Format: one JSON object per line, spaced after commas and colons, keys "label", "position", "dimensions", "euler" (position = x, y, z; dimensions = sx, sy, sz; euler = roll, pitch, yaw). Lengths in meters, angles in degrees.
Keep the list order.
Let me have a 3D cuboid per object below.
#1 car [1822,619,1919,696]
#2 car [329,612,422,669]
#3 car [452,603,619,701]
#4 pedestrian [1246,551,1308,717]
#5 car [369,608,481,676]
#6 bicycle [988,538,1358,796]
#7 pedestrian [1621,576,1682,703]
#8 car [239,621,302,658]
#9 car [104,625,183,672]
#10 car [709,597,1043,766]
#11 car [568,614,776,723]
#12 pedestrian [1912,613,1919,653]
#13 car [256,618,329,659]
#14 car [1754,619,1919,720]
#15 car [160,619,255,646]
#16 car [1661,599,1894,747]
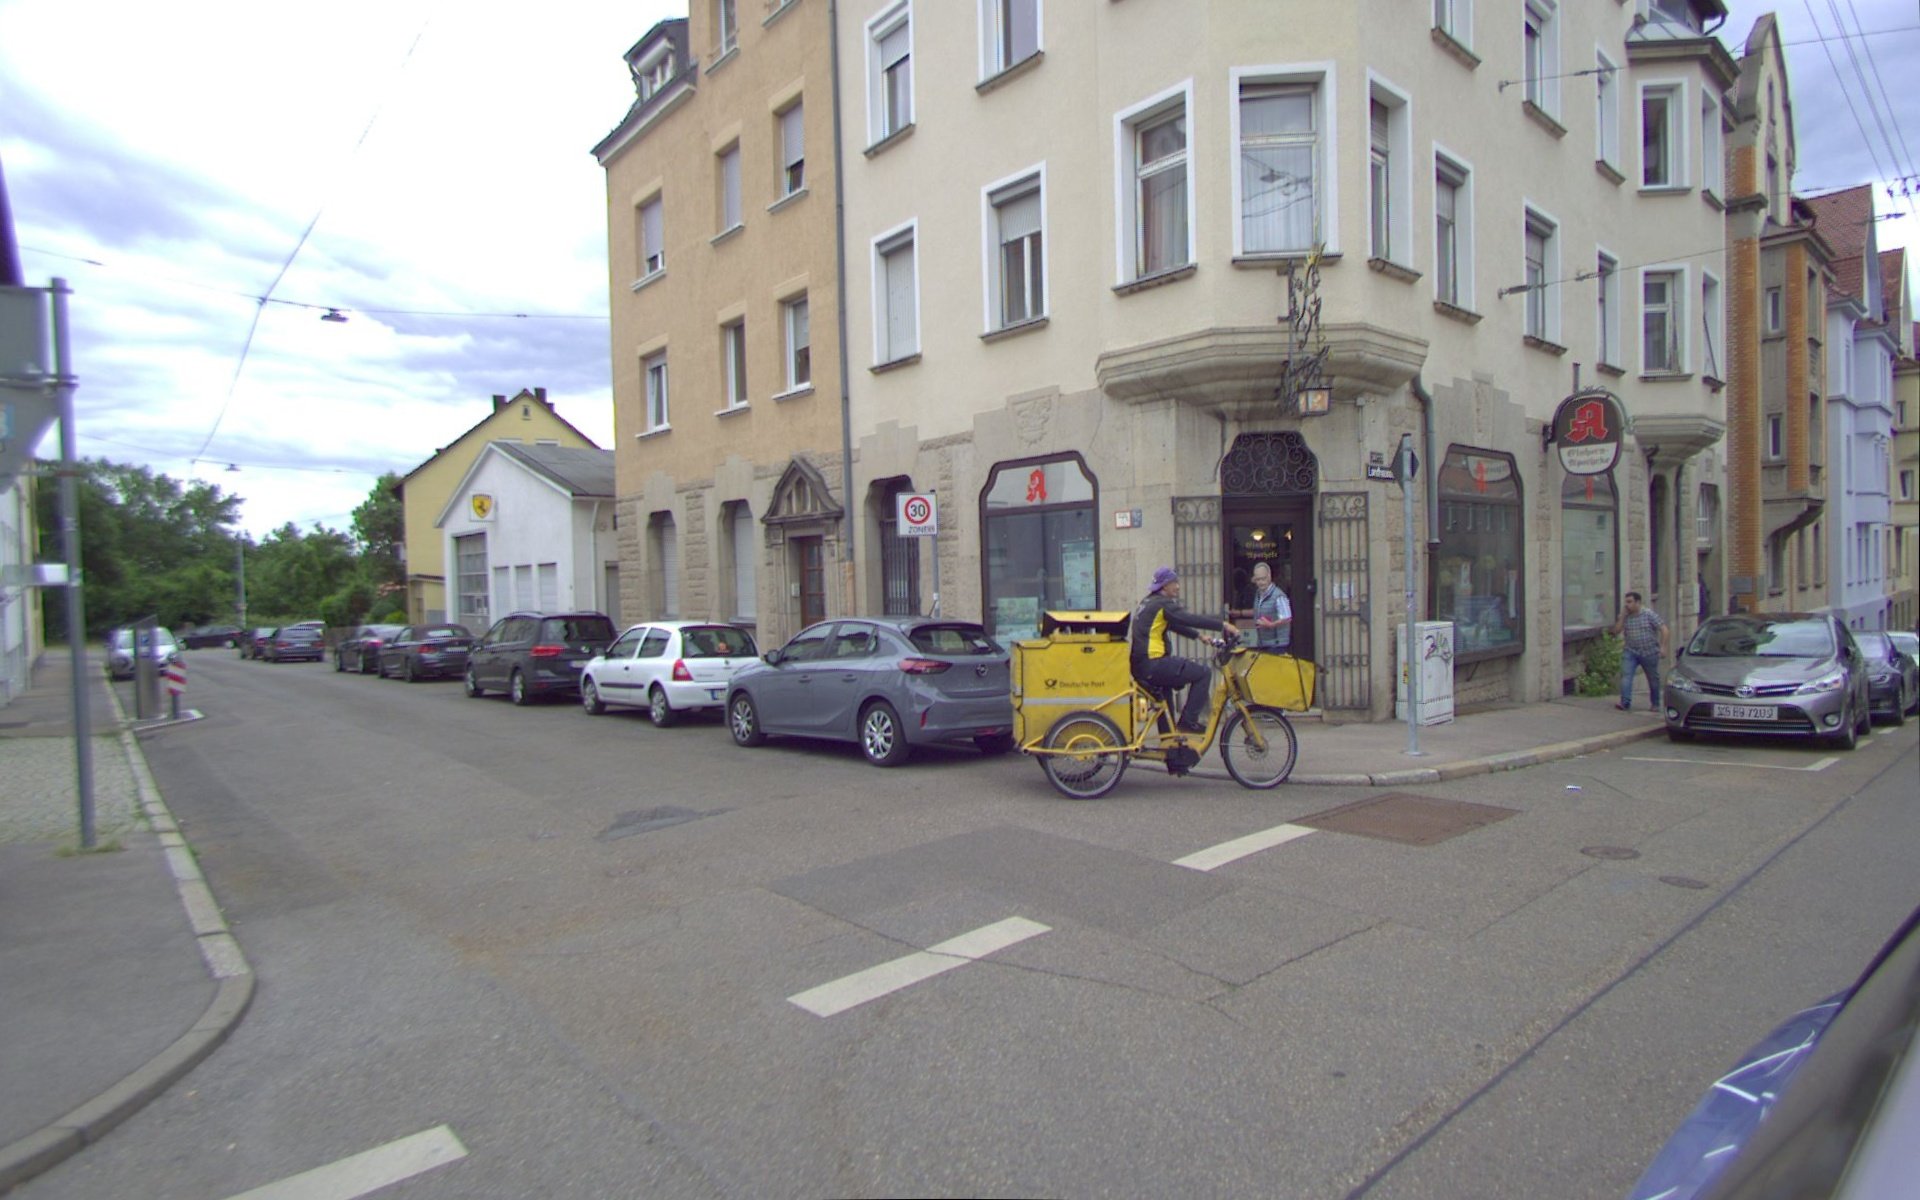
{"label": "car", "position": [18.808, 1.097, 20.324], "dimensions": [4.234, 1.408, 1.751], "euler": [1, -3, -43]}
{"label": "car", "position": [-17.532, 1.173, 30.266], "dimensions": [1.553, 1.602, 3.978], "euler": [1, -2, -43]}
{"label": "car", "position": [-7.845, 0.888, 18.532], "dimensions": [1.553, 1.602, 3.978], "euler": [1, -2, -43]}
{"label": "pedestrian", "position": [3.486, 0.367, 11.155], "dimensions": [0.482, 1.790, 0.485], "euler": [1, -1, -8]}
{"label": "car", "position": [-13.771, 1.024, 25.946], "dimensions": [1.553, 1.602, 3.978], "euler": [1, -2, -43]}
{"label": "bicycle", "position": [1.582, 0.504, 8.074], "dimensions": [2.677, 1.890, 1.182], "euler": [0, -1, 1]}
{"label": "pedestrian", "position": [10.212, 0.572, 14.946], "dimensions": [0.621, 1.826, 0.600], "euler": [1, -1, -41]}
{"label": "car", "position": [-31.727, 1.778, 46.518], "dimensions": [1.829, 1.602, 3.978], "euler": [1, -2, -43]}
{"label": "car", "position": [-27.721, 1.605, 34.326], "dimensions": [1.793, 1.483, 3.850], "euler": [1, -2, -43]}
{"label": "car", "position": [-1.049, 0.756, 10.897], "dimensions": [1.553, 1.483, 3.850], "euler": [1, -2, -43]}
{"label": "car", "position": [-4.303, 0.920, 14.871], "dimensions": [1.553, 1.407, 3.436], "euler": [1, -2, -43]}
{"label": "pedestrian", "position": [41.980, 1.459, 44.121], "dimensions": [0.540, 1.701, 0.509], "euler": [6, 5, 40]}
{"label": "car", "position": [-27.644, 1.565, 41.879], "dimensions": [1.829, 1.602, 4.382], "euler": [1, -2, -43]}
{"label": "car", "position": [14.434, 1.025, 16.368], "dimensions": [4.612, 1.408, 1.781], "euler": [1, -3, -43]}
{"label": "car", "position": [-46.397, 1.974, 62.537], "dimensions": [4.322, 1.602, 1.864], "euler": [0, -1, -19]}
{"label": "car", "position": [10.533, 0.830, 12.909], "dimensions": [4.497, 1.557, 1.736], "euler": [1, -3, -44]}
